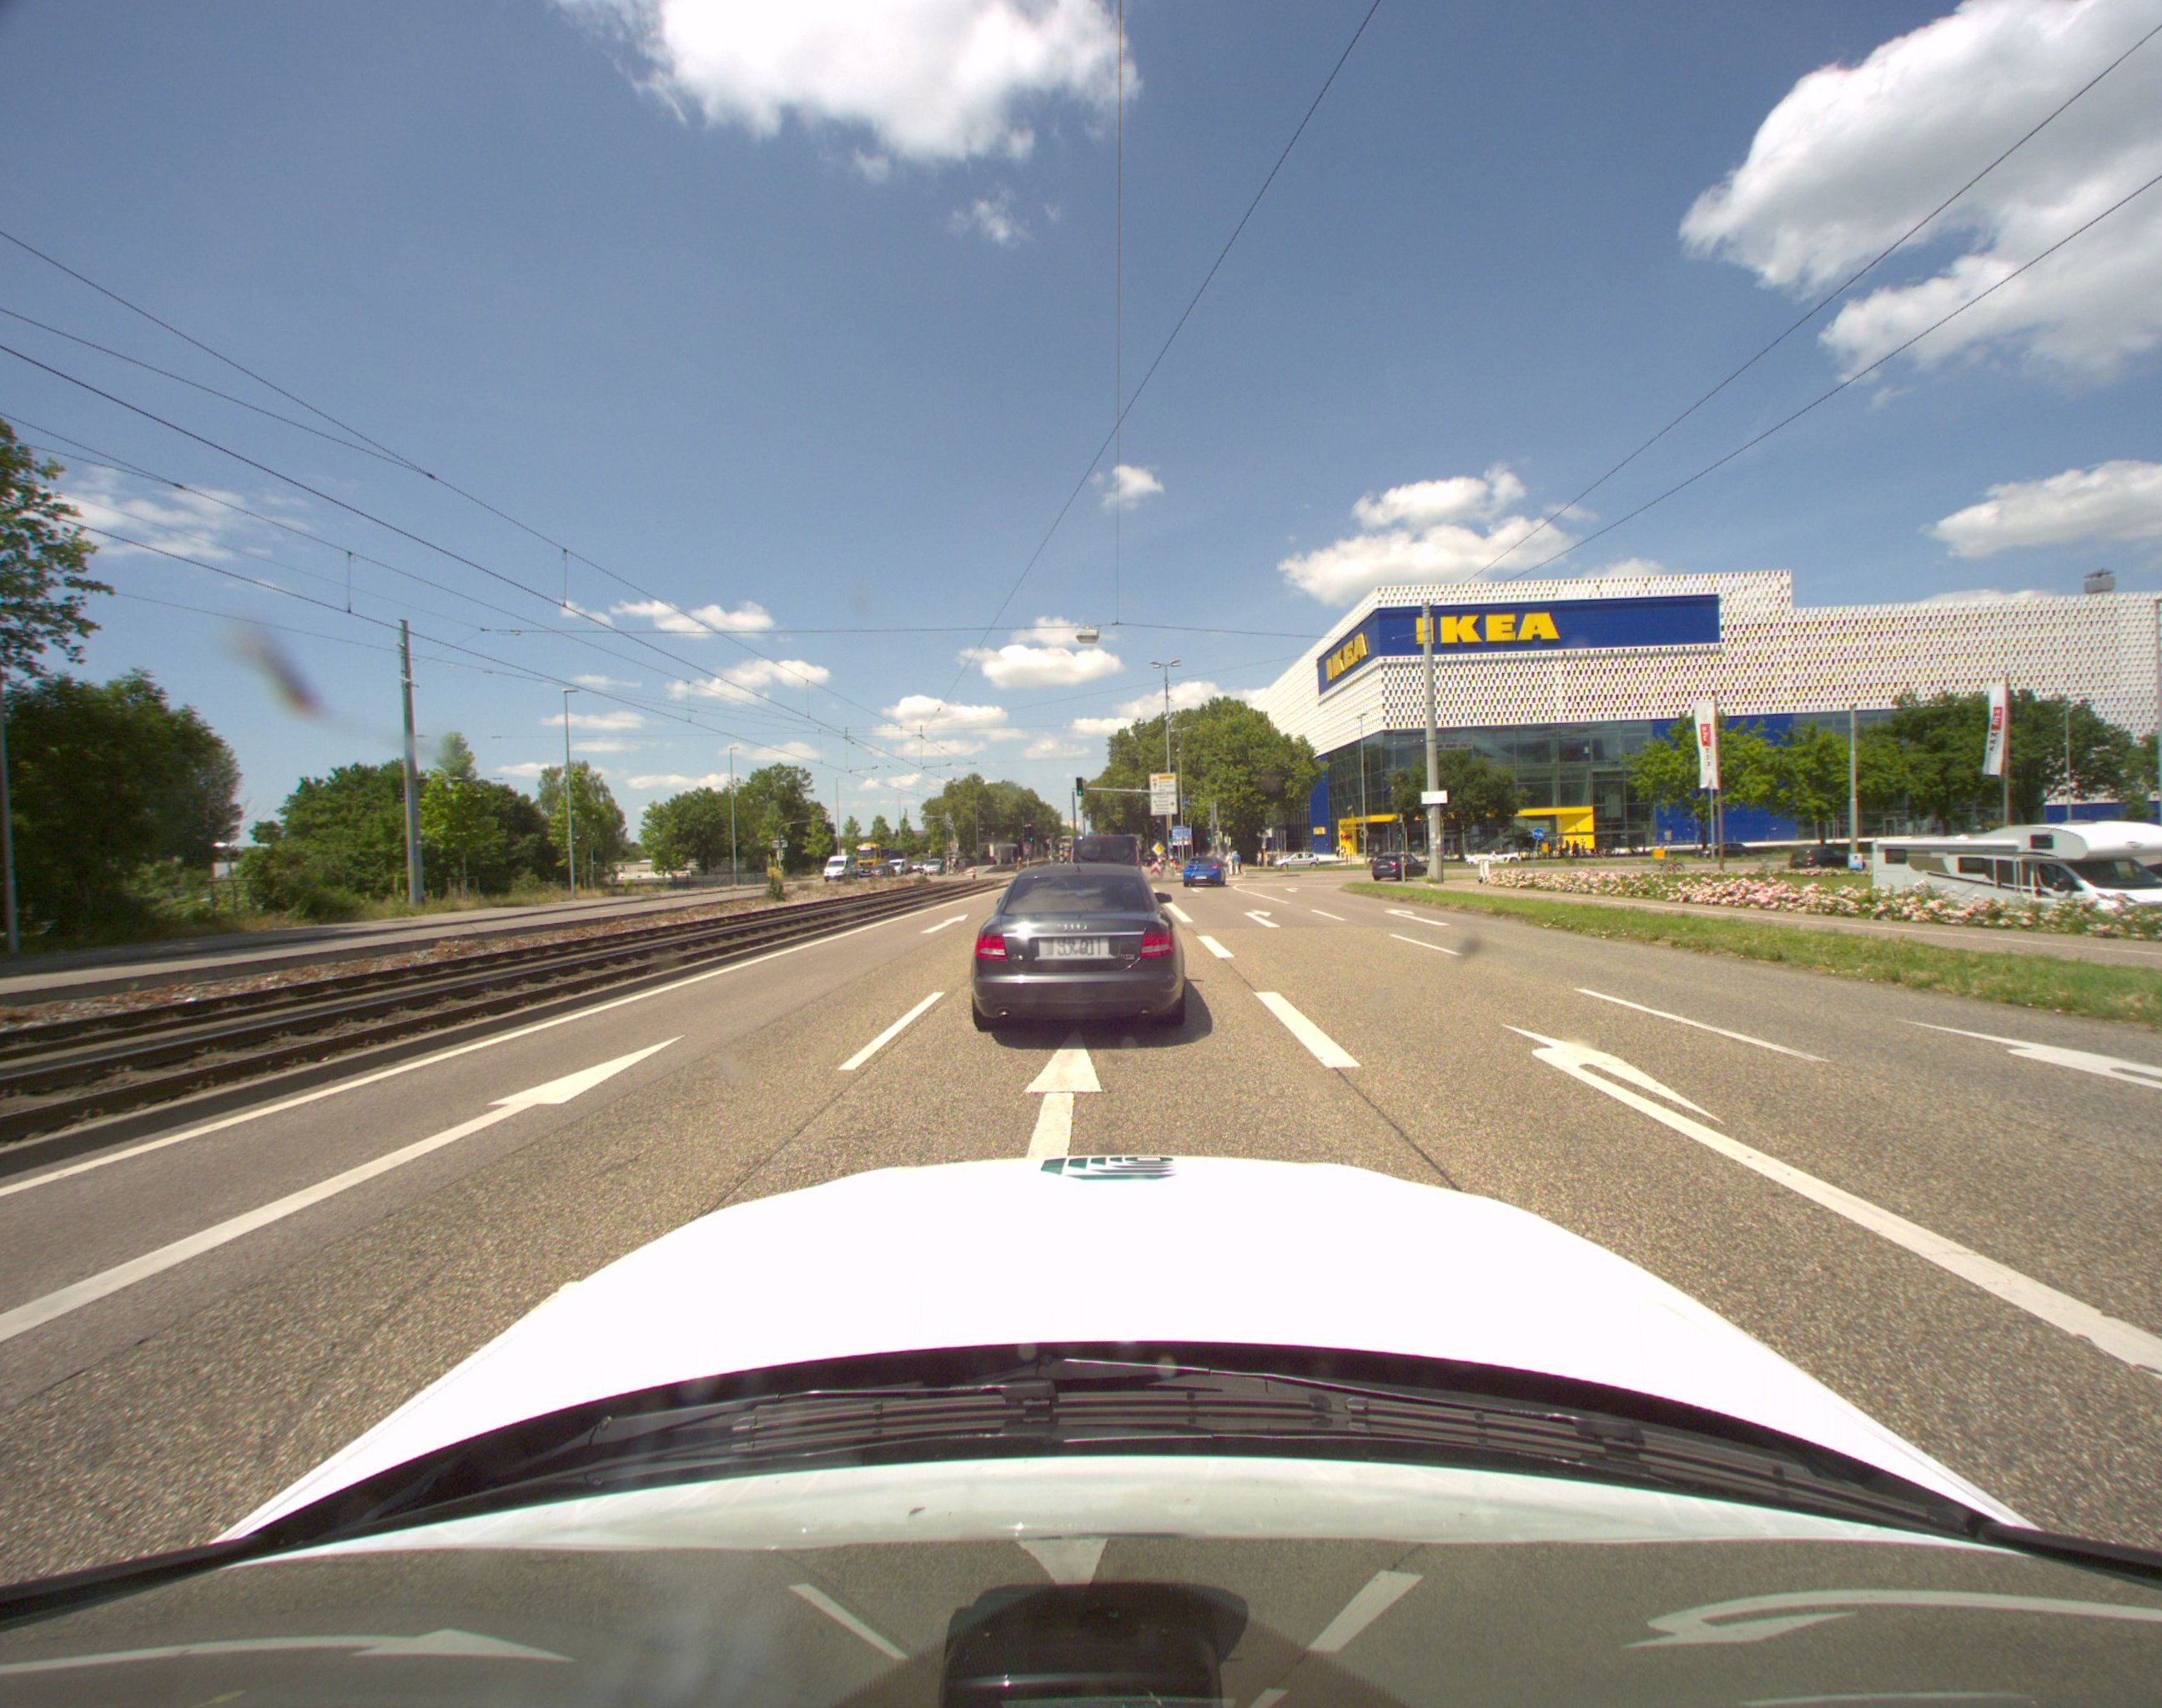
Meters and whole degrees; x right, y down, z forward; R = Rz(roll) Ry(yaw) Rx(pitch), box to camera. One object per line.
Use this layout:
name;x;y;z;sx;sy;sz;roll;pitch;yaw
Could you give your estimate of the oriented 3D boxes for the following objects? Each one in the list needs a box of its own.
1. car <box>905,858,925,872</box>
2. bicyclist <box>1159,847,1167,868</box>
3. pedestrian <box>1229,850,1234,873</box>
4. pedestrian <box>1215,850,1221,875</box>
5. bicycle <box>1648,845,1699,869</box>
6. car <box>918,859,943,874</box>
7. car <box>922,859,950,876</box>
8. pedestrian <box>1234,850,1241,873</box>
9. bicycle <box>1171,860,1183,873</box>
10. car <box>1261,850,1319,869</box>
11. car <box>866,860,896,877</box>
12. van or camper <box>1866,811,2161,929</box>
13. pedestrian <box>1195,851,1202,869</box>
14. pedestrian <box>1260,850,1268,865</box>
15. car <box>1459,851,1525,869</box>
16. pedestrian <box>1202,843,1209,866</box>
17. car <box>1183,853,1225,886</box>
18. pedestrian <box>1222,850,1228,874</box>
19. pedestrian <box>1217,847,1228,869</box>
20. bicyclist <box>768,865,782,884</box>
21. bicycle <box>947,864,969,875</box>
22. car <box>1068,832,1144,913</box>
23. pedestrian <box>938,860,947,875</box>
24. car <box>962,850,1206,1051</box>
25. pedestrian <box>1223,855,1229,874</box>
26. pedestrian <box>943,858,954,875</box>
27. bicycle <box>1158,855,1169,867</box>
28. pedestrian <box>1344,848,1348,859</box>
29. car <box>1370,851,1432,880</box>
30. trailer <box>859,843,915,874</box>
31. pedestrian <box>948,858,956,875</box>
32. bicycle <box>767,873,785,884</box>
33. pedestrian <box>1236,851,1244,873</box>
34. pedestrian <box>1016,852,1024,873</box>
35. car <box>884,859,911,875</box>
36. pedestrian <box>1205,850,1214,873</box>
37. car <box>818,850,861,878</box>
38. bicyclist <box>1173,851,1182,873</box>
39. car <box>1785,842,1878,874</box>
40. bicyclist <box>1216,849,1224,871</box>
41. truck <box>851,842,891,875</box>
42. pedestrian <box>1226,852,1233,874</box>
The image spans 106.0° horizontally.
car;-23.167;1.558;113.775;1.811;1.883;4.001;-1;0;2
bicyclist;6.837;0.281;67.987;0.526;1.789;1.089;-1;-1;2
pedestrian;10.573;0.518;57.314;0.319;1.635;0.377;-1;0;5
pedestrian;9.308;0.573;55.266;0.379;1.635;0.377;-1;0;5
bicycle;37.101;0.179;50.999;2.410;1.481;0.990;-1;0;6
car;-17.663;1.456;95.811;1.814;1.670;4.467;0;0;5
car;-15.158;1.384;85.124;1.814;1.670;4.467;0;0;4
pedestrian;11.014;0.514;57.289;0.396;1.635;0.371;-1;0;5
bicycle;7.596;0.968;64.626;0.685;1.006;2.753;-1;0;2
car;17.352;0.434;67.732;4.475;1.486;2.003;0;0;5
car;-20.878;1.458;85.206;1.815;1.670;4.463;0;0;2
van or camper;28.173;0.410;24.574;2.494;3.020;7.235;-1;0;6
pedestrian;10.143;0.497;70.360;0.490;1.520;0.710;-1;0;19
pedestrian;19.093;0.398;84.949;0.698;1.544;0.681;-1;0;21
car;33.847;0.461;67.228;4.475;1.486;2.003;0;0;5
pedestrian;8.944;0.013;58.461;0.443;1.635;0.430;-1;0;5
car;5.901;0.689;38.633;1.826;1.454;4.012;0;0;11
pedestrian;9.734;0.548;55.203;0.337;1.635;0.377;-1;0;5
pedestrian;11.854;0.314;68.283;0.678;1.846;0.711;-1;0;27
bicyclist;-28.977;1.954;77.117;1.116;1.774;0.340;-1;0;-3
bicycle;-11.589;1.445;76.733;2.055;0.925;0.751;-1;0;-8
car;0.674;0.466;22.006;1.830;1.950;4.001;-1;0;2
pedestrian;-13.188;1.254;77.621;0.683;1.443;0.572;-1;-1;-2
car;0.095;0.719;8.103;1.786;1.455;4.002;-2;0;2
pedestrian;10.190;0.725;57.388;0.371;1.304;0.365;-1;0;5
pedestrian;-13.088;1.217;80.499;0.816;1.720;0.779;-1;-1;24
bicycle;6.933;0.577;68.476;0.685;0.993;2.753;-1;0;2
pedestrian;33.843;-0.083;103.985;0.287;1.342;0.266;-1;-1;1
car;18.961;0.662;48.198;4.121;1.526;1.745;-1;0;-42
trailer;-23.984;0.487;101.850;2.757;3.518;15.884;-1;0;2
pedestrian;-12.503;1.195;78.717;0.683;1.564;0.572;-1;-1;-2
bicycle;-28.869;2.350;77.103;1.487;0.987;0.485;-1;0;-2
pedestrian;12.038;0.594;61.614;0.518;1.670;0.495;-1;0;5
pedestrian;-5.948;0.856;79.505;0.683;2.014;0.572;-1;-1;-3
car;-20.740;1.467;92.237;1.814;1.670;4.465;0;0;3
pedestrian;9.192;0.521;58.324;0.551;1.635;0.433;-1;0;4
car;-24.365;0.966;82.424;2.235;2.588;6.236;-4;0;1
bicyclist;7.670;0.628;64.787;0.526;1.676;1.088;-1;-1;2
car;49.415;0.275;53.672;4.164;2.014;2.001;-1;0;2
bicyclist;11.131;0.458;65.213;0.525;1.764;0.831;-1;-1;15
truck;-24.222;0.511;94.164;2.757;3.569;6.442;-1;0;2
pedestrian;11.249;0.682;61.684;0.501;1.635;0.449;-1;0;4
